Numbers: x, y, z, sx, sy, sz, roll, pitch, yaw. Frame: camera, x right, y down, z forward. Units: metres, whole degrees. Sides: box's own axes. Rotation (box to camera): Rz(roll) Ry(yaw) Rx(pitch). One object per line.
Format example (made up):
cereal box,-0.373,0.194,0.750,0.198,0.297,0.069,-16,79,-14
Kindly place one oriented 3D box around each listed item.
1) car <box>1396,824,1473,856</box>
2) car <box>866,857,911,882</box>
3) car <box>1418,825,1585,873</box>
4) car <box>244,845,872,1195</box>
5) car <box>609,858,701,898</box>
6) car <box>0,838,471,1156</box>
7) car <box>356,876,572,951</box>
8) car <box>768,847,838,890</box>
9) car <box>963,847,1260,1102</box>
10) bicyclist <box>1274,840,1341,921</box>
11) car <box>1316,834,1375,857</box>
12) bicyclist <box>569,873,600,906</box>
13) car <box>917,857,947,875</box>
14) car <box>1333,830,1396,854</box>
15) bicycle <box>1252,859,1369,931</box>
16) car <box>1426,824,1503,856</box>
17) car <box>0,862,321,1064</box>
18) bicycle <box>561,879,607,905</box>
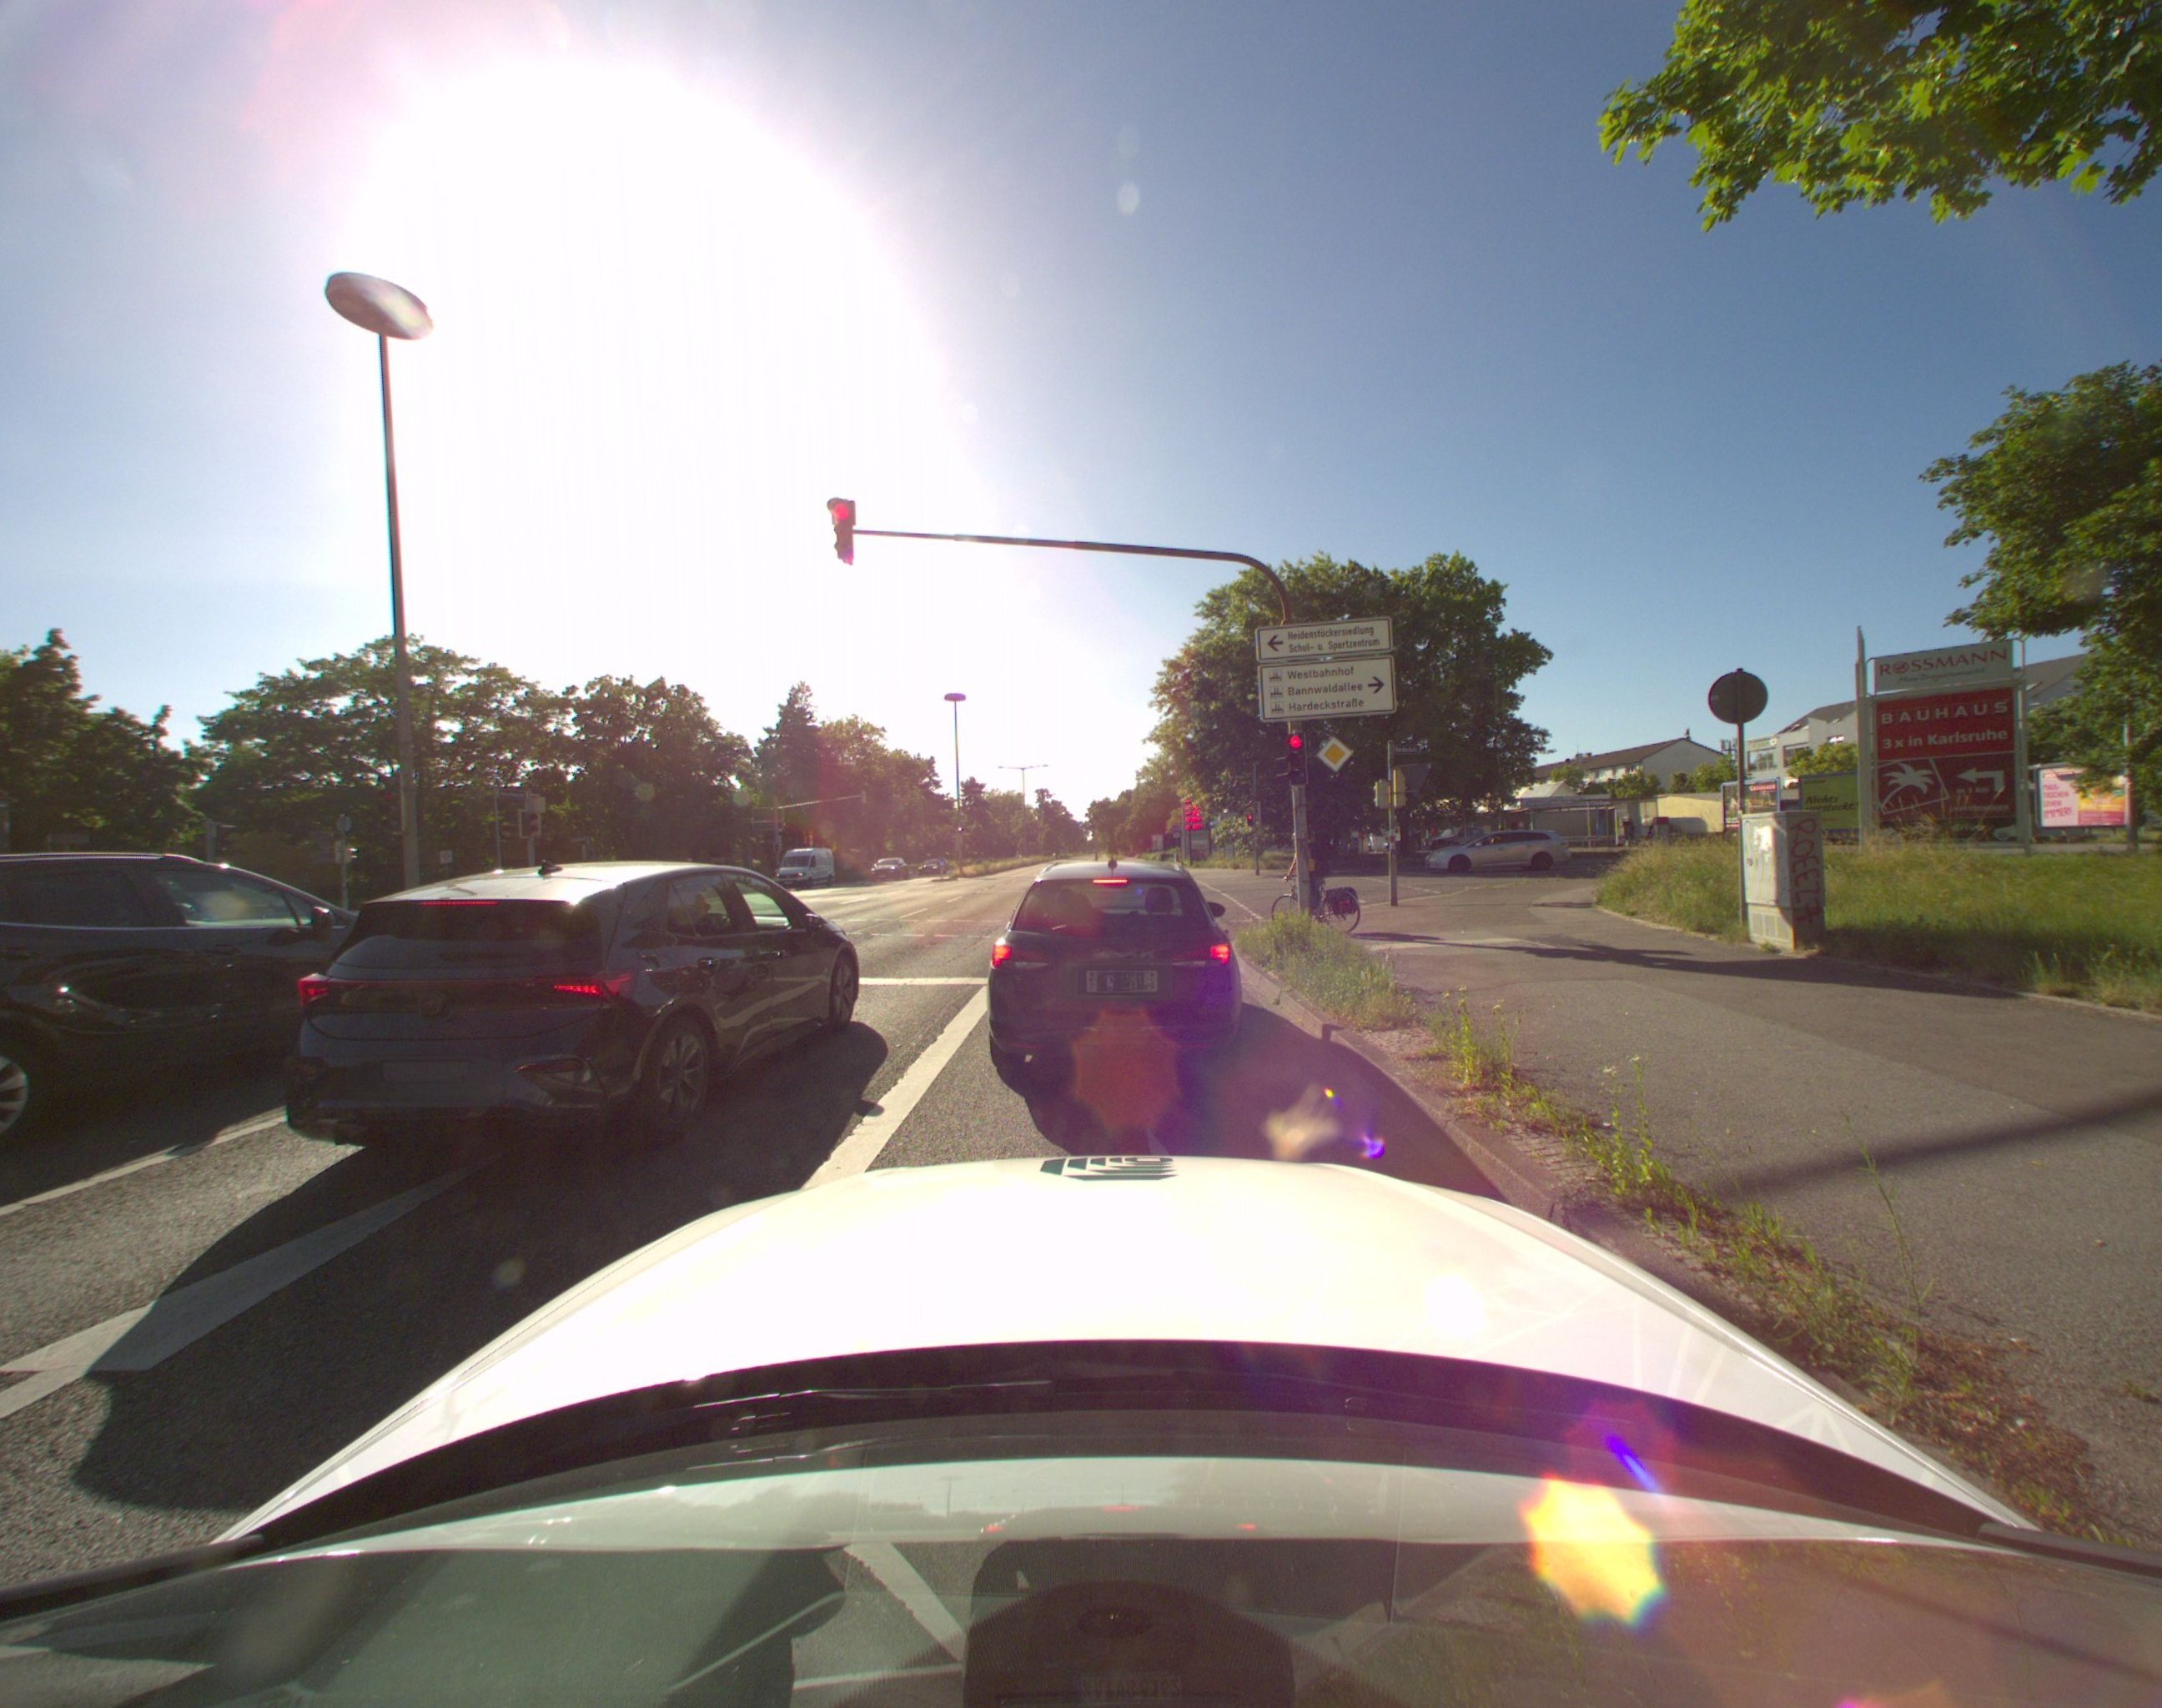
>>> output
car,21.423,-0.847,49.389,4.003,1.750,1.985,-3,0,-22
car,-13.984,1.107,59.445,1.986,1.601,4.617,-3,0,2
car,14.962,-0.172,29.296,4.969,1.486,2.007,-2,0,13
car,-2.960,0.778,5.858,1.678,1.580,4.208,-1,0,2
car,-18.147,0.991,34.917,1.680,1.509,4.005,-3,0,2
car,-6.621,0.796,5.521,1.798,1.689,4.002,-3,0,2
car,-15.069,1.379,20.283,1.680,1.433,4.617,-3,0,2
car,-17.473,0.852,51.491,2.092,2.492,6.006,-3,0,2
car,0.248,0.730,6.967,1.750,1.495,4.208,-1,0,2
bicyclist,3.715,0.443,13.377,0.541,1.277,0.819,-3,-2,-42
car,19.324,-0.627,59.528,3.903,1.517,1.733,-3,0,-21
bicyclist,-26.001,1.836,42.678,0.874,1.648,1.198,-3,0,-3
car,-13.654,1.061,74.885,1.769,1.463,4.166,-3,0,2
car,19.659,-0.834,56.436,3.903,1.517,1.733,-3,0,-21
bicycle,3.731,0.689,13.375,0.541,1.097,1.755,-3,-2,-42
car,22.374,-0.826,47.529,4.002,1.680,1.733,-3,0,-21
car,-10.224,0.997,7.923,1.824,1.702,3.999,-3,0,0
bicycle,-25.988,1.959,42.652,0.874,1.212,2.533,-3,0,-3
